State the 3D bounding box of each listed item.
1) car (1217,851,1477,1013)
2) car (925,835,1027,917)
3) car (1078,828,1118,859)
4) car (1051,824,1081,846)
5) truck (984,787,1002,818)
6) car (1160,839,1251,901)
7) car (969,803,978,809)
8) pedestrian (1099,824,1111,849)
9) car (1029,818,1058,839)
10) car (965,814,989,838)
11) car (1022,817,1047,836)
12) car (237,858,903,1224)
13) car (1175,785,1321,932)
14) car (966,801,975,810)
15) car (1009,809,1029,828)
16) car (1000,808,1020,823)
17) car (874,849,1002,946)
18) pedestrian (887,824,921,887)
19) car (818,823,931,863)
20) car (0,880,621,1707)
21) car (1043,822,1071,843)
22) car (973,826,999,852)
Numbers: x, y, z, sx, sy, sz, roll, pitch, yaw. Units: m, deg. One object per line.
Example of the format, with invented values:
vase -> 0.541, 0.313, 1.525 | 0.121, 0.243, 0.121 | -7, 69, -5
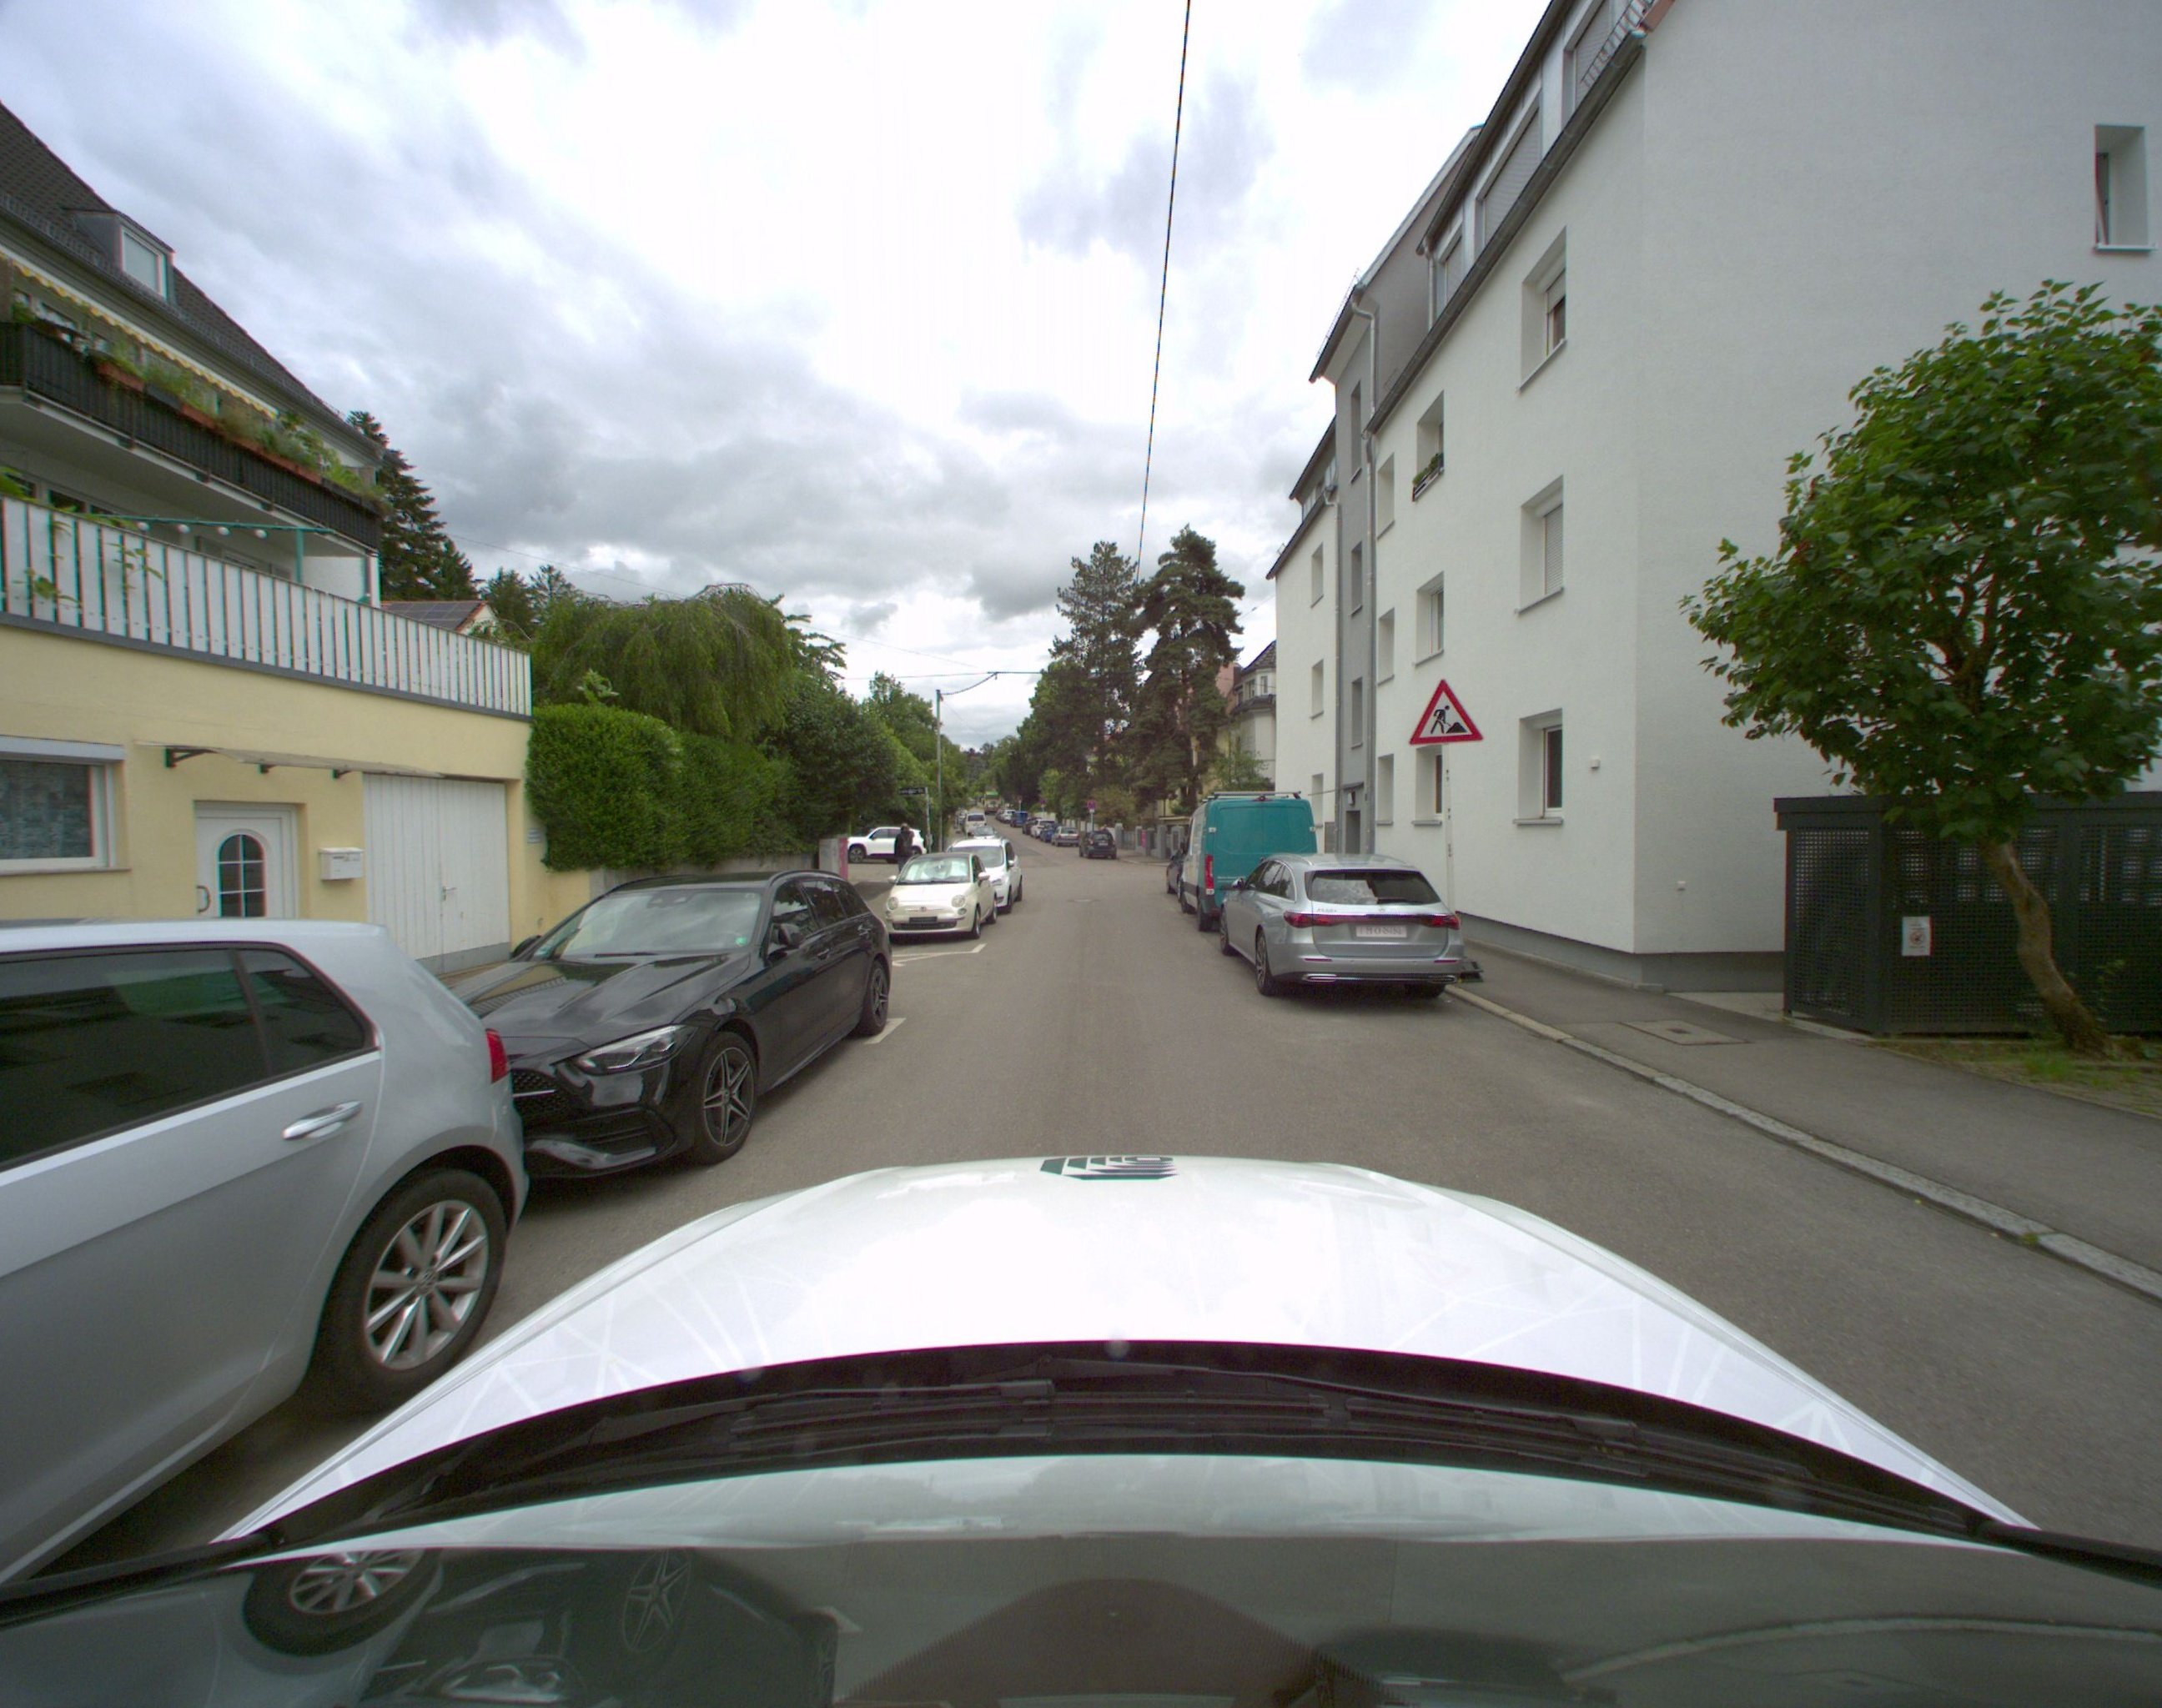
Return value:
car -> 2.812, 0.708, 9.686 | 1.817, 1.445, 4.386 | 0, 0, 2
car -> -2.383, 0.421, 19.488 | 1.798, 1.659, 4.153 | -1, 2, 1
car -> 0.916, -0.603, 45.854 | 1.573, 1.531, 2.856 | 2, 3, -13
car -> -1.121, -1.359, 58.012 | 1.574, 1.399, 3.644 | 1, 4, -10
truck -> -14.062, -8.291, 129.614 | 2.524, 4.746, 7.167 | 0, 4, -10
car -> 3.308, 0.357, 22.362 | 1.813, 1.485, 4.286 | 0, 2, -1
car -> -26.181, -11.623, 197.943 | 1.779, 1.488, 3.986 | -1, 4, -11
pedestrian -> 1.560, -1.176, 53.336 | 0.679, 1.576, 0.905 | -3, 2, -4
car -> -3.246, -2.219, 69.151 | 1.786, 1.602, 4.289 | 1, 4, -11
car -> -9.510, -2.588, 74.094 | 1.855, 1.912, 4.605 | -3, 4, -10
car -> -4.328, -2.565, 74.802 | 1.750, 1.607, 4.062 | 1, 3, -10
car -> -2.661, 0.815, 5.655 | 1.796, 1.480, 4.330 | -1, 0, 1
car -> 3.086, 0.050, 16.199 | 1.986, 2.422, 5.296 | -1, 1, 2
car -> -23.613, -10.391, 173.866 | 1.634, 1.700, 3.483 | 0, 5, -11
car -> -6.796, -3.889, 88.973 | 1.683, 1.828, 4.143 | 1, 4, -11
car -> -8.742, -4.731, 99.522 | 1.760, 1.605, 4.556 | 0, 4, -14
car -> -2.516, 0.707, 15.131 | 1.601, 1.453, 3.615 | -3, 1, 1
pedestrian -> -5.019, 0.039, 23.150 | 0.818, 1.759, 0.643 | 1, 2, -5
car -> -9.106, -0.476, 36.165 | 1.812, 1.655, 4.541 | 3, 2, 43
car -> -2.705, 0.847, 1.181 | 1.633, 1.428, 4.124 | -2, 0, 1
car -> -1.876, -1.680, 62.645 | 1.647, 1.458, 4.039 | 1, 3, -10
car -> -6.383, -1.053, 54.981 | 1.439, 1.551, 2.767 | -3, 4, -3
